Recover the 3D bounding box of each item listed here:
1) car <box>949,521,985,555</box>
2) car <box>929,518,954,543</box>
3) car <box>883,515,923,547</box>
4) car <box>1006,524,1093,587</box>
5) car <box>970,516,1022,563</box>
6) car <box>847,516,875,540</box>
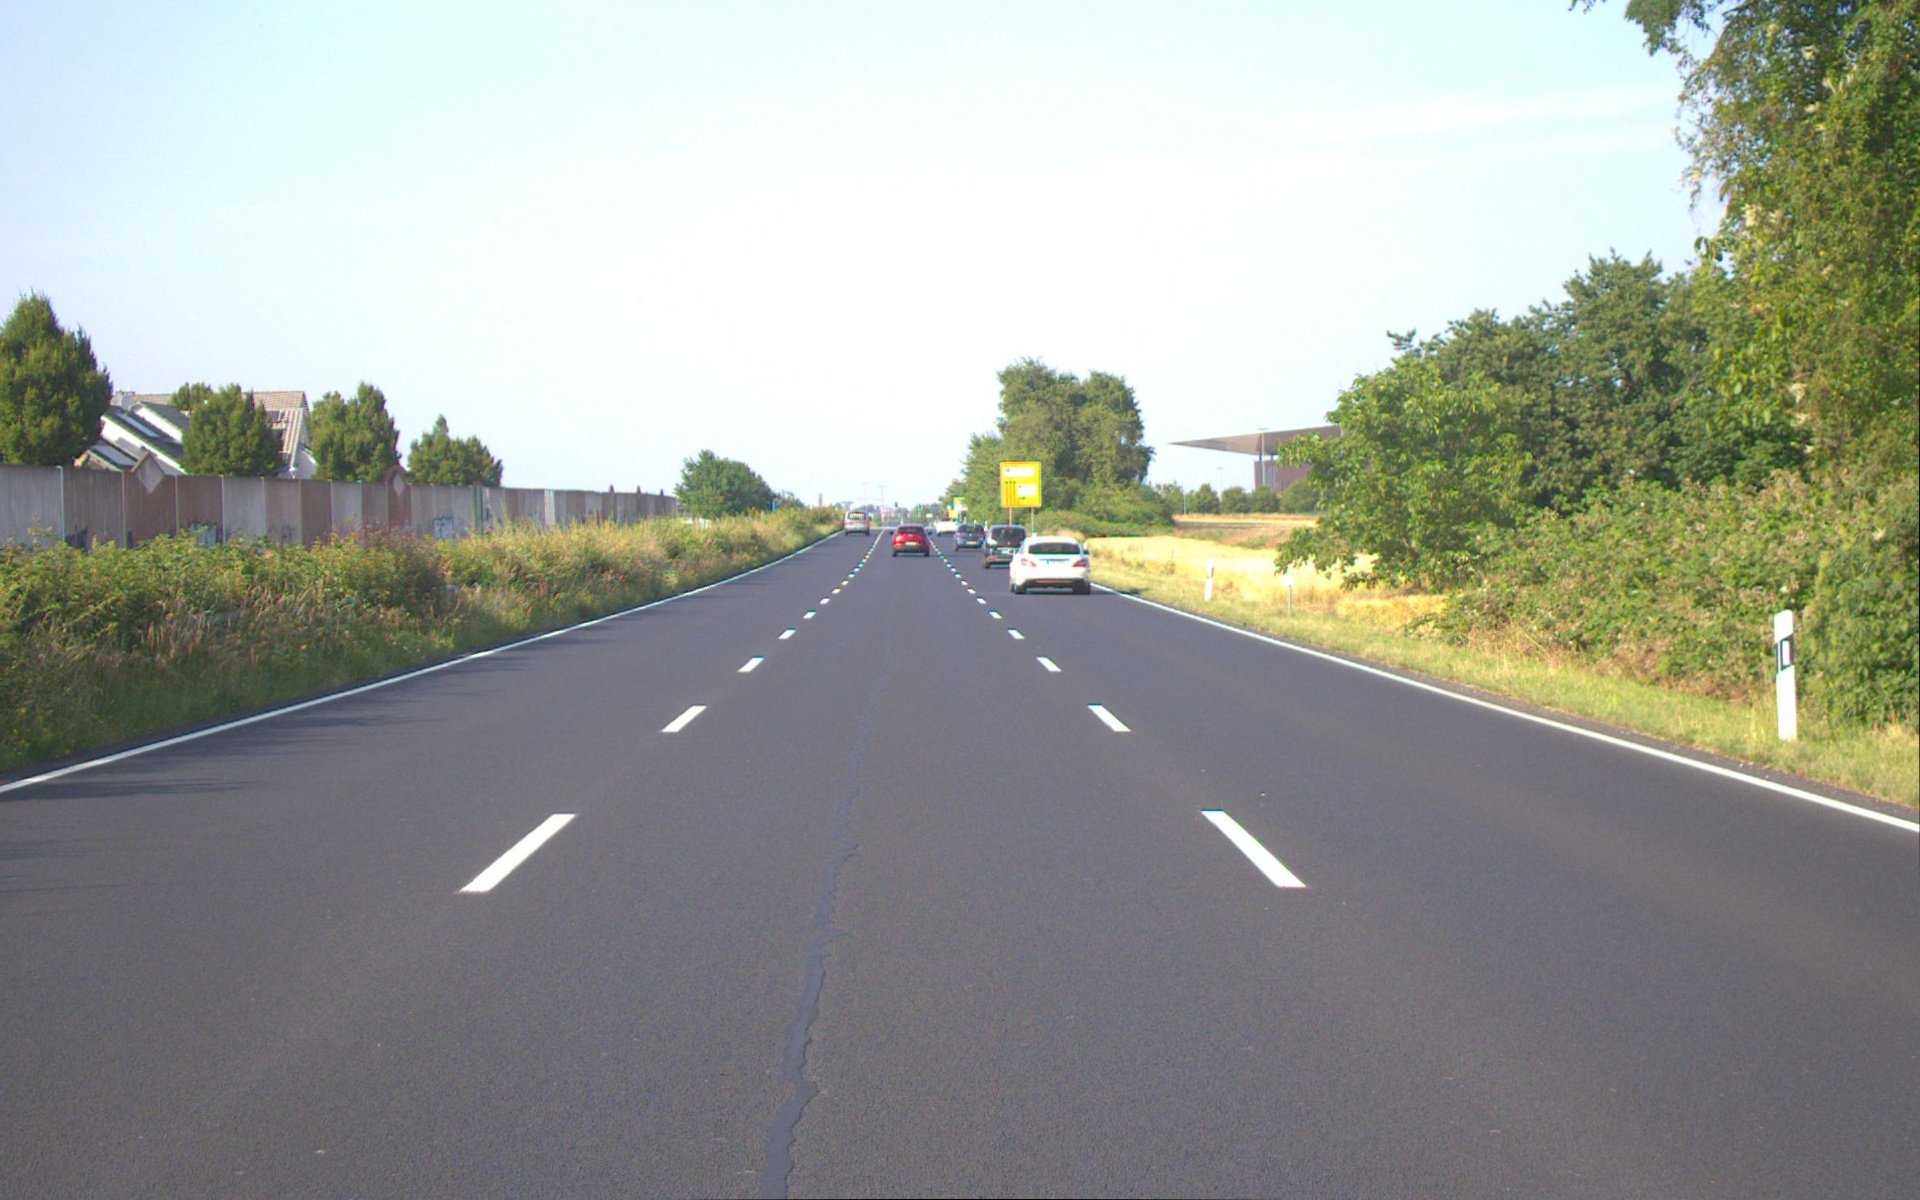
[{"bbox_3d":[0.353,-3.232,179.067,1.834,1.711,3.862,1,1,-1],"label":"car"},{"bbox_3d":[-1.380,-5.149,254.945,1.847,1.744,4.000,1,1,0],"label":"car"},{"bbox_3d":[-2.687,-3.228,161.137,1.812,1.431,3.859,1,1,-2],"label":"car"},{"bbox_3d":[2.227,-1.116,86.065,1.993,1.511,4.000,1,1,-1],"label":"car"},{"bbox_3d":[1.341,-2.257,128.915,1.828,1.722,4.000,1,1,-1],"label":"car"},{"bbox_3d":[-7.454,-5.411,259.034,1.993,1.711,4.000,1,1,-1],"label":"car"}]
